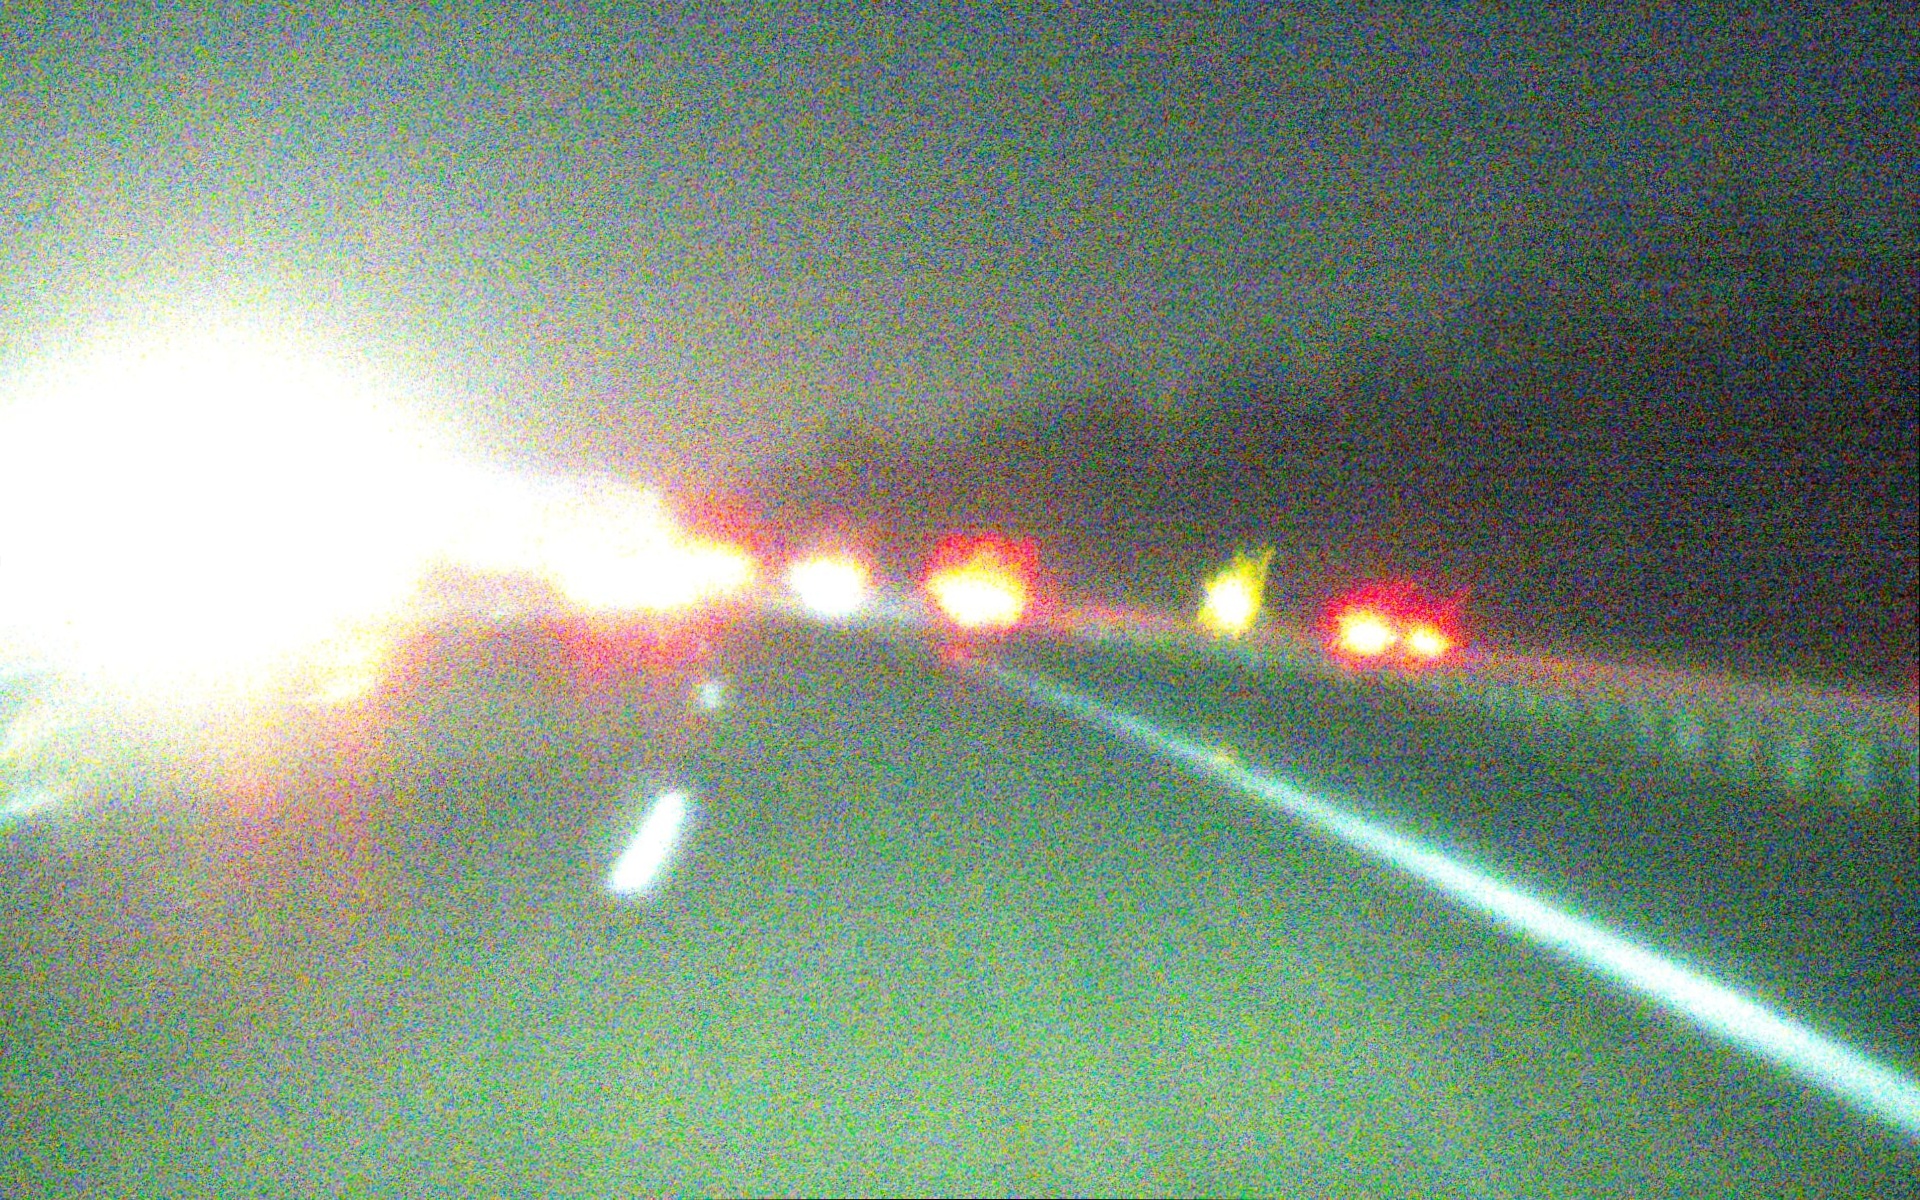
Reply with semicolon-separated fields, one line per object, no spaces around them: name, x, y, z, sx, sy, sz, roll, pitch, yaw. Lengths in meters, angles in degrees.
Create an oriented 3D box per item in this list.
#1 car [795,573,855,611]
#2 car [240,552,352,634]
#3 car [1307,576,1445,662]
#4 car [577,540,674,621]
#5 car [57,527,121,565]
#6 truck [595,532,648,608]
car;-4.911;-0.305;124.585;1.580;1.242;3.069;4;-1;-12
car;-10.445;-0.088;54.198;1.661;1.232;3.762;1;-1;-10
car;8.298;0.350;69.002;2.058;1.514;5.016;3;1;0
car;-6.685;-0.414;69.042;1.801;1.482;4.001;3;1;-5
car;-30.320;-1.868;119.750;1.662;1.232;3.762;1;-1;-6
truck;-14.095;-1.228;143.051;1.993;3.032;6.466;1;-1;-7
